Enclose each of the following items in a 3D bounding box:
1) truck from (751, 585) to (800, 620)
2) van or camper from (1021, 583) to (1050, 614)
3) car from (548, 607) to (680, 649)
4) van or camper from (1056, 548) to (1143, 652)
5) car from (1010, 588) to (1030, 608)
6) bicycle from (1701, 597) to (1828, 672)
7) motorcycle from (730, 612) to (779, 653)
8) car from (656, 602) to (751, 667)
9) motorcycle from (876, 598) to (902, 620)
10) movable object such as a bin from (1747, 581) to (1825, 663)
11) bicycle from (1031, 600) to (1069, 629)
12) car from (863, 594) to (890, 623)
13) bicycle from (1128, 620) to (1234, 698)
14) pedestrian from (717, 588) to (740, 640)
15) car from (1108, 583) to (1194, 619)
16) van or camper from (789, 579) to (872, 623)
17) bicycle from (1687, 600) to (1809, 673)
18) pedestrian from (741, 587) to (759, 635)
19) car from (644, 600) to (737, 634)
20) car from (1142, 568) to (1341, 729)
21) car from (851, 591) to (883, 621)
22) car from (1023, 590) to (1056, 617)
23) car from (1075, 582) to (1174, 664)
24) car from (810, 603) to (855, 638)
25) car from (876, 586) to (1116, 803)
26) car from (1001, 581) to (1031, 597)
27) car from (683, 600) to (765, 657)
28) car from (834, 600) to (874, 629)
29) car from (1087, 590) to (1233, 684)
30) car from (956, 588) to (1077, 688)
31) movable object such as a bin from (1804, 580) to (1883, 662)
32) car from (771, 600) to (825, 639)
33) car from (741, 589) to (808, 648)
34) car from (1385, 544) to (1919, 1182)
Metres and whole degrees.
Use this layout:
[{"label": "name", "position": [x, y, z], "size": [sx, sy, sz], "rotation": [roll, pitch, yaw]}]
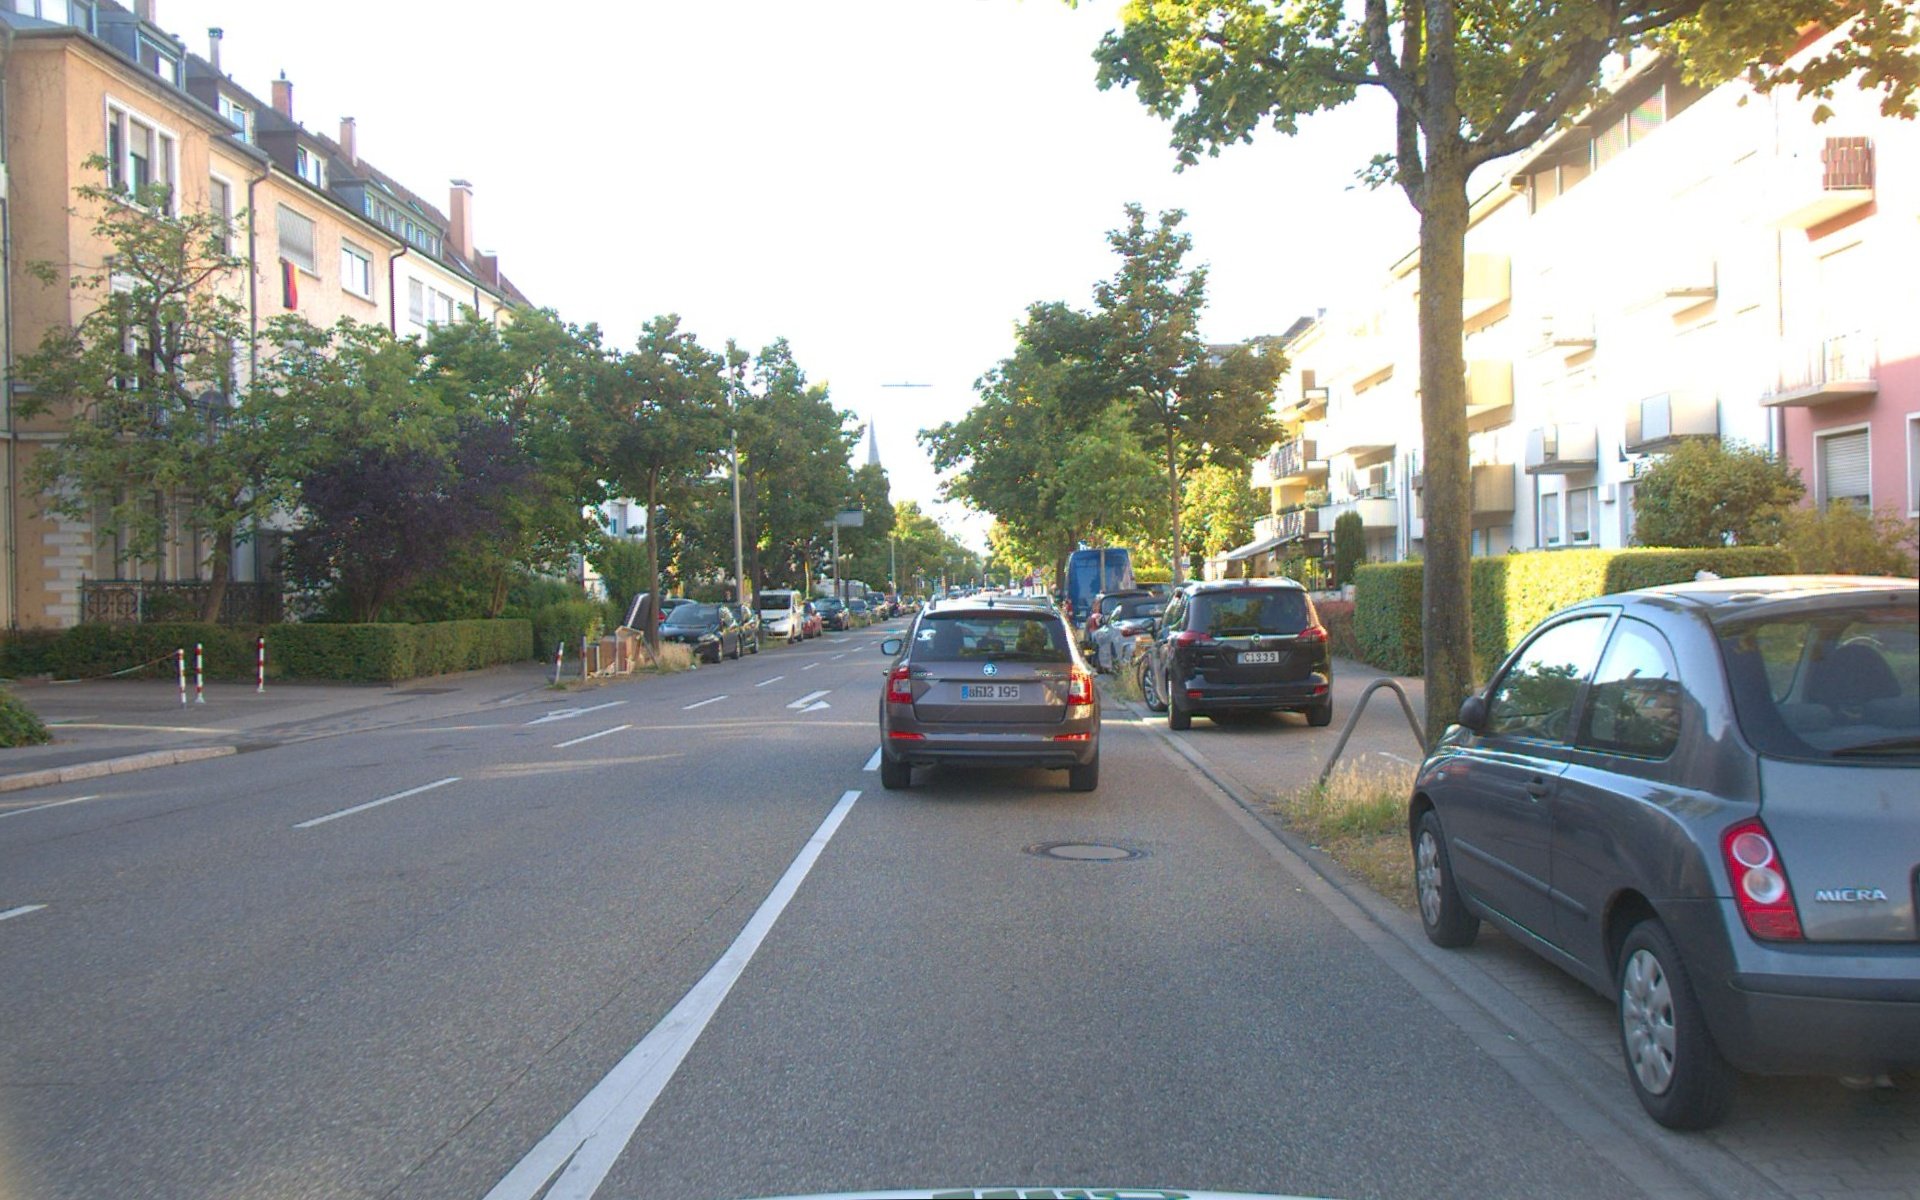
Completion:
[{"label": "truck", "position": [-11.563, 0.122, 103.980], "size": [2.853, 2.130, 1.546], "rotation": [-1, 0, 1]}, {"label": "van or camper", "position": [5.285, -0.129, 116.216], "size": [1.952, 2.049, 4.001], "rotation": [-1, 1, 1]}, {"label": "car", "position": [-12.627, 0.994, 60.493], "size": [4.628, 1.386, 1.994], "rotation": [-1, 1, -12]}, {"label": "van or camper", "position": [3.856, 0.012, 46.667], "size": [2.025, 2.722, 5.990], "rotation": [-1, 0, 1]}, {"label": "car", "position": [5.524, -0.190, 152.015], "size": [1.694, 1.847, 3.950], "rotation": [-1, 1, 0]}, {"label": "bicycle", "position": [9.748, 0.414, 20.053], "size": [1.341, 0.868, 0.369], "rotation": [-1, 0, 2]}, {"label": "motorcycle", "position": [-6.398, 0.997, 51.605], "size": [0.433, 1.212, 1.699], "rotation": [-1, 1, 38]}, {"label": "car", "position": [-6.633, 0.849, 43.136], "size": [1.714, 1.529, 4.197], "rotation": [-1, 1, 1]}, {"label": "motorcycle", "position": [-5.047, 0.627, 117.381], "size": [0.760, 1.538, 2.000], "rotation": [-1, 1, -41]}, {"label": "movable object such as a bin", "position": [10.606, 0.272, 21.265], "size": [0.598, 1.020, 0.796], "rotation": [-1, 0, 1]}, {"label": "bicycle", "position": [4.170, 0.661, 76.565], "size": [1.635, 1.247, 0.636], "rotation": [-3, 0, 14]}, {"label": "car", "position": [-5.371, 0.516, 107.092], "size": [1.476, 1.788, 3.694], "rotation": [-1, 1, 1]}, {"label": "bicycle", "position": [3.182, 0.844, 23.854], "size": [1.451, 1.077, 0.410], "rotation": [-1, 0, -12]}, {"label": "pedestrian", "position": [-9.287, 0.556, 66.342], "size": [0.751, 2.049, 0.976], "rotation": [-1, 0, 1]}, {"label": "car", "position": [10.633, 0.045, 92.165], "size": [4.478, 1.926, 1.898], "rotation": [-1, 0, -27]}, {"label": "van or camper", "position": [-12.017, 0.106, 153.752], "size": [7.484, 3.942, 2.000], "rotation": [-1, 0, -1]}, {"label": "bicycle", "position": [9.768, 0.449, 20.509], "size": [1.331, 0.868, 0.365], "rotation": [-1, 0, 1]}, {"label": "pedestrian", "position": [-8.976, 0.456, 70.717], "size": [0.614, 2.049, 0.616], "rotation": [-1, 0, 0]}, {"label": "car", "position": [-12.169, 0.745, 74.820], "size": [3.907, 1.505, 1.999], "rotation": [0, 0, -3]}, {"label": "car", "position": [3.213, 0.493, 19.650], "size": [1.696, 1.680, 4.292], "rotation": [-1, 1, 1]}, {"label": "car", "position": [-5.735, 0.372, 102.430], "size": [1.714, 1.771, 3.591], "rotation": [-1, 1, 1]}, {"label": "car", "position": [4.460, 0.184, 92.152], "size": [1.783, 1.438, 4.113], "rotation": [-1, 1, 3]}, {"label": "car", "position": [3.547, 0.481, 36.134], "size": [1.736, 1.671, 3.756], "rotation": [-1, 0, -1]}, {"label": "car", "position": [-5.975, 0.938, 77.678], "size": [1.681, 1.523, 4.248], "rotation": [-1, 1, 1]}, {"label": "car", "position": [0.350, 0.659, 13.806], "size": [1.693, 1.520, 3.952], "rotation": [-1, 1, 3]}, {"label": "car", "position": [6.649, -1.329, 196.055], "size": [1.840, 1.788, 4.173], "rotation": [-1, 1, 28]}, {"label": "car", "position": [-6.807, 0.800, 48.063], "size": [1.714, 1.529, 3.979], "rotation": [-1, 1, 1]}, {"label": "car", "position": [-5.703, 0.758, 89.242], "size": [1.718, 1.445, 4.426], "rotation": [-1, 1, 2]}, {"label": "car", "position": [3.531, 0.603, 30.014], "size": [1.881, 1.512, 4.744], "rotation": [-1, 1, -2]}, {"label": "car", "position": [0.872, 0.576, 27.617], "size": [1.695, 1.520, 3.949], "rotation": [-1, 1, -3]}, {"label": "movable object such as a bin", "position": [11.354, 0.259, 21.275], "size": [0.598, 1.020, 0.796], "rotation": [-1, 0, 1]}, {"label": "car", "position": [-6.436, 0.755, 66.049], "size": [1.681, 1.446, 3.787], "rotation": [-1, 1, 1]}, {"label": "car", "position": [-6.543, 0.620, 58.718], "size": [1.733, 1.952, 4.460], "rotation": [-1, 1, 1]}, {"label": "car", "position": [2.816, 0.625, 5.925], "size": [1.696, 1.578, 3.647], "rotation": [-1, 1, 1]}]
